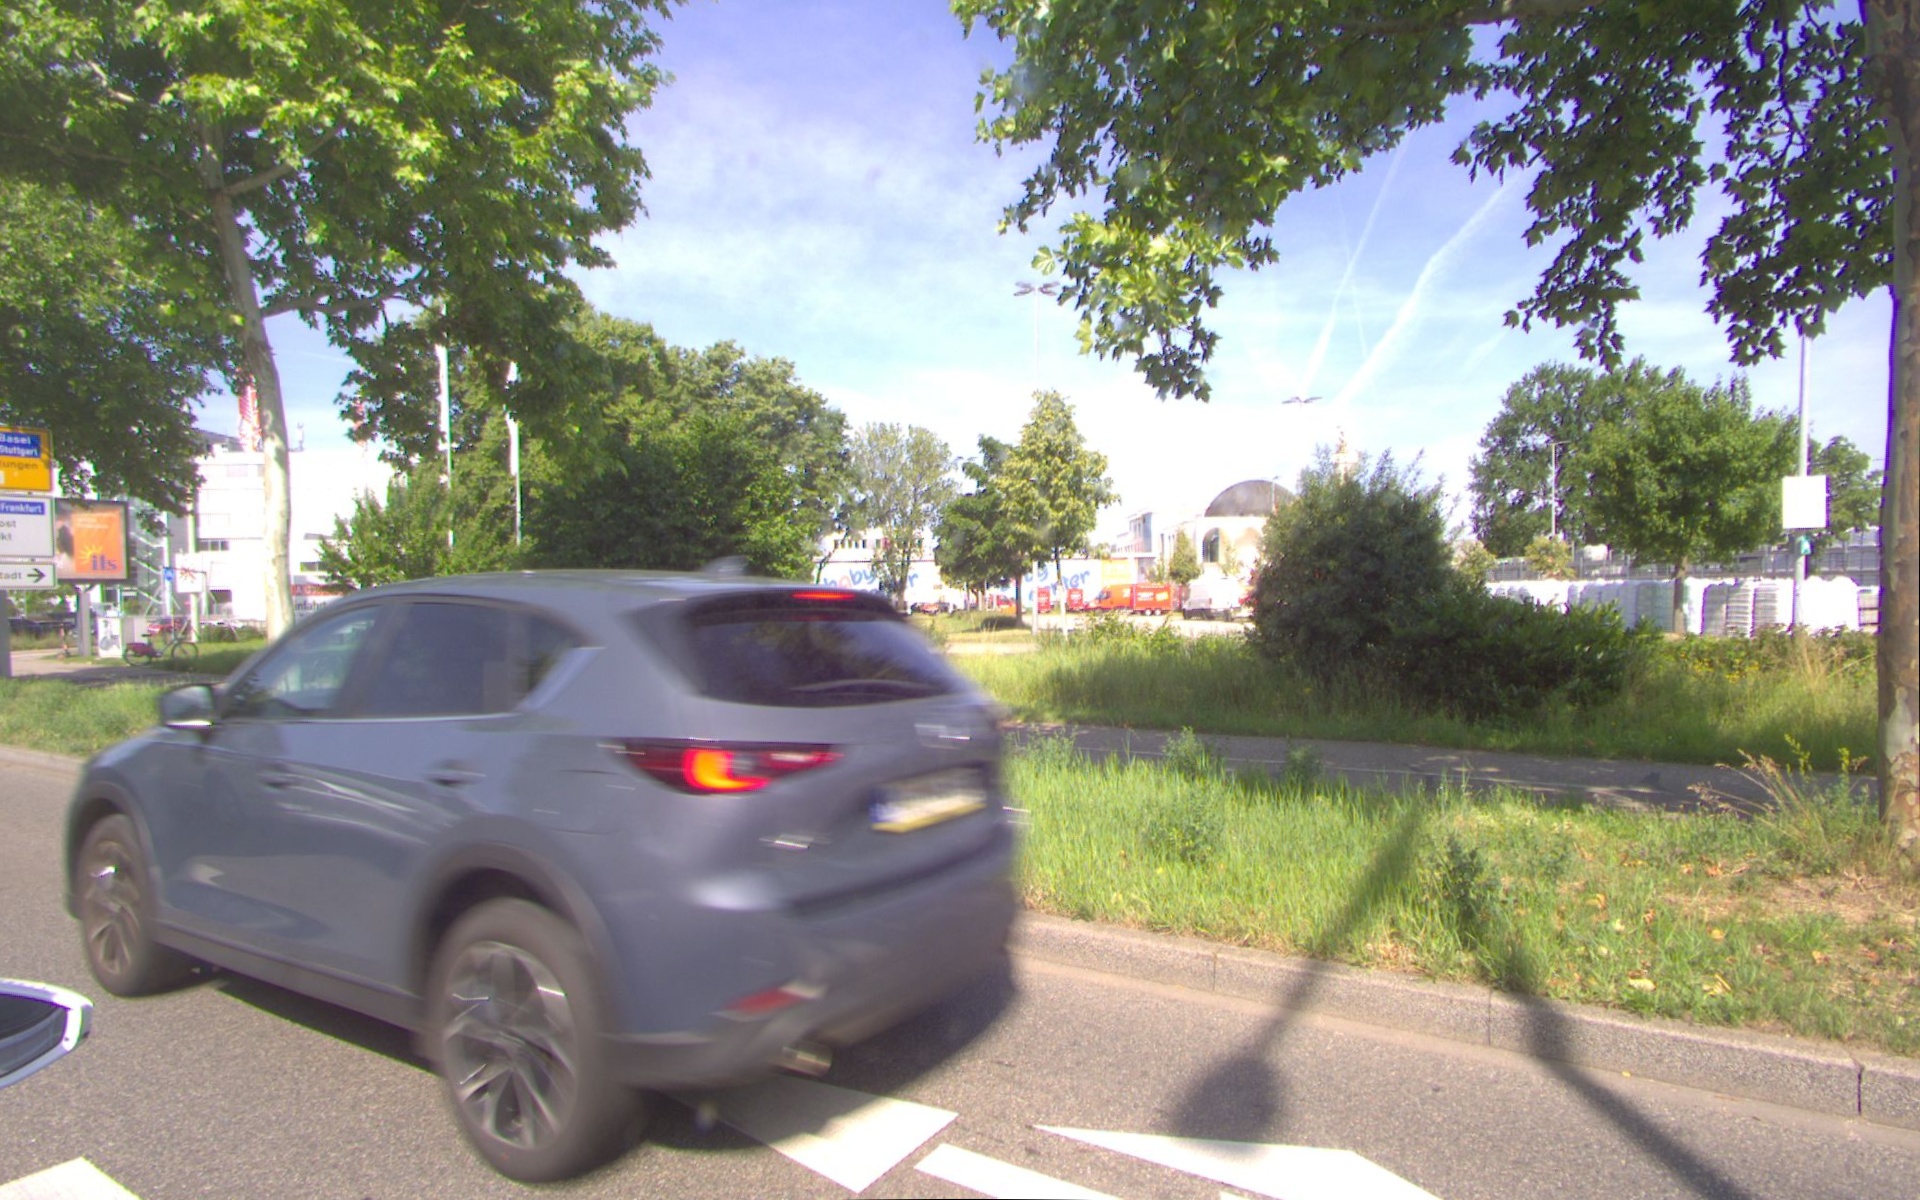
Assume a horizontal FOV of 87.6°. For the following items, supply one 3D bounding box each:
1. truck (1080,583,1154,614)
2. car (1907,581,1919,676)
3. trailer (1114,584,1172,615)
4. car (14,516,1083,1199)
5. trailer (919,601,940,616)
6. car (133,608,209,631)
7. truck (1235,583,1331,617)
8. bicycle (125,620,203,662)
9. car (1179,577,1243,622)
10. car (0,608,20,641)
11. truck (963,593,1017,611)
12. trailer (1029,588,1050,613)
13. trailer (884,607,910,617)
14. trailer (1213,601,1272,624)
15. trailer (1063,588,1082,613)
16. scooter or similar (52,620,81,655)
[{"bbox_3d":[13.327,-0.134,85.187,5.914,2.644,2.018,0,0,-6],"label":"truck"},{"bbox_3d":[16.437,0.473,15.244,1.820,1.606,3.849,-1,0,25],"label":"car"},{"bbox_3d":[14.503,-0.038,79.450,4.325,2.409,1.751,0,1,0],"label":"trailer"},{"bbox_3d":[-1.884,0.717,4.069,4.431,1.680,1.763,-1,-2,32],"label":"car"},{"bbox_3d":[-2.936,0.814,95.656,1.560,1.304,4.409,-1,0,-7],"label":"trailer"},{"bbox_3d":[-54.008,1.278,68.632,1.747,1.463,4.625,-1,0,-4],"label":"car"},{"bbox_3d":[21.619,0.006,67.184,5.751,2.168,2.066,-1,0,-1],"label":"truck"},{"bbox_3d":[-23.806,1.217,29.990,1.771,1.123,0.499,-3,2,-40],"label":"bicycle"},{"bbox_3d":[15.512,-0.040,62.221,1.980,2.576,5.687,-3,0,-6],"label":"car"},{"bbox_3d":[-50.146,1.274,50.177,1.879,1.711,4.625,-1,0,-4],"label":"car"},{"bbox_3d":[3.361,0.236,112.922,5.888,1.855,2.188,0,-2,-3],"label":"truck"},{"bbox_3d":[7.743,0.024,97.809,1.560,2.408,4.410,0,1,-1],"label":"trailer"},{"bbox_3d":[-5.950,1.123,94.907,2.059,0.792,4.411,-1,0,1],"label":"trailer"},{"bbox_3d":[15.930,0.665,56.630,2.029,1.137,4.031,-3,0,-2],"label":"trailer"},{"bbox_3d":[10.890,0.036,97.191,1.520,2.390,4.410,0,1,2],"label":"trailer"},{"bbox_3d":[-29.900,1.237,33.504,1.107,1.141,0.423,0,1,32],"label":"scooter or similar"}]
